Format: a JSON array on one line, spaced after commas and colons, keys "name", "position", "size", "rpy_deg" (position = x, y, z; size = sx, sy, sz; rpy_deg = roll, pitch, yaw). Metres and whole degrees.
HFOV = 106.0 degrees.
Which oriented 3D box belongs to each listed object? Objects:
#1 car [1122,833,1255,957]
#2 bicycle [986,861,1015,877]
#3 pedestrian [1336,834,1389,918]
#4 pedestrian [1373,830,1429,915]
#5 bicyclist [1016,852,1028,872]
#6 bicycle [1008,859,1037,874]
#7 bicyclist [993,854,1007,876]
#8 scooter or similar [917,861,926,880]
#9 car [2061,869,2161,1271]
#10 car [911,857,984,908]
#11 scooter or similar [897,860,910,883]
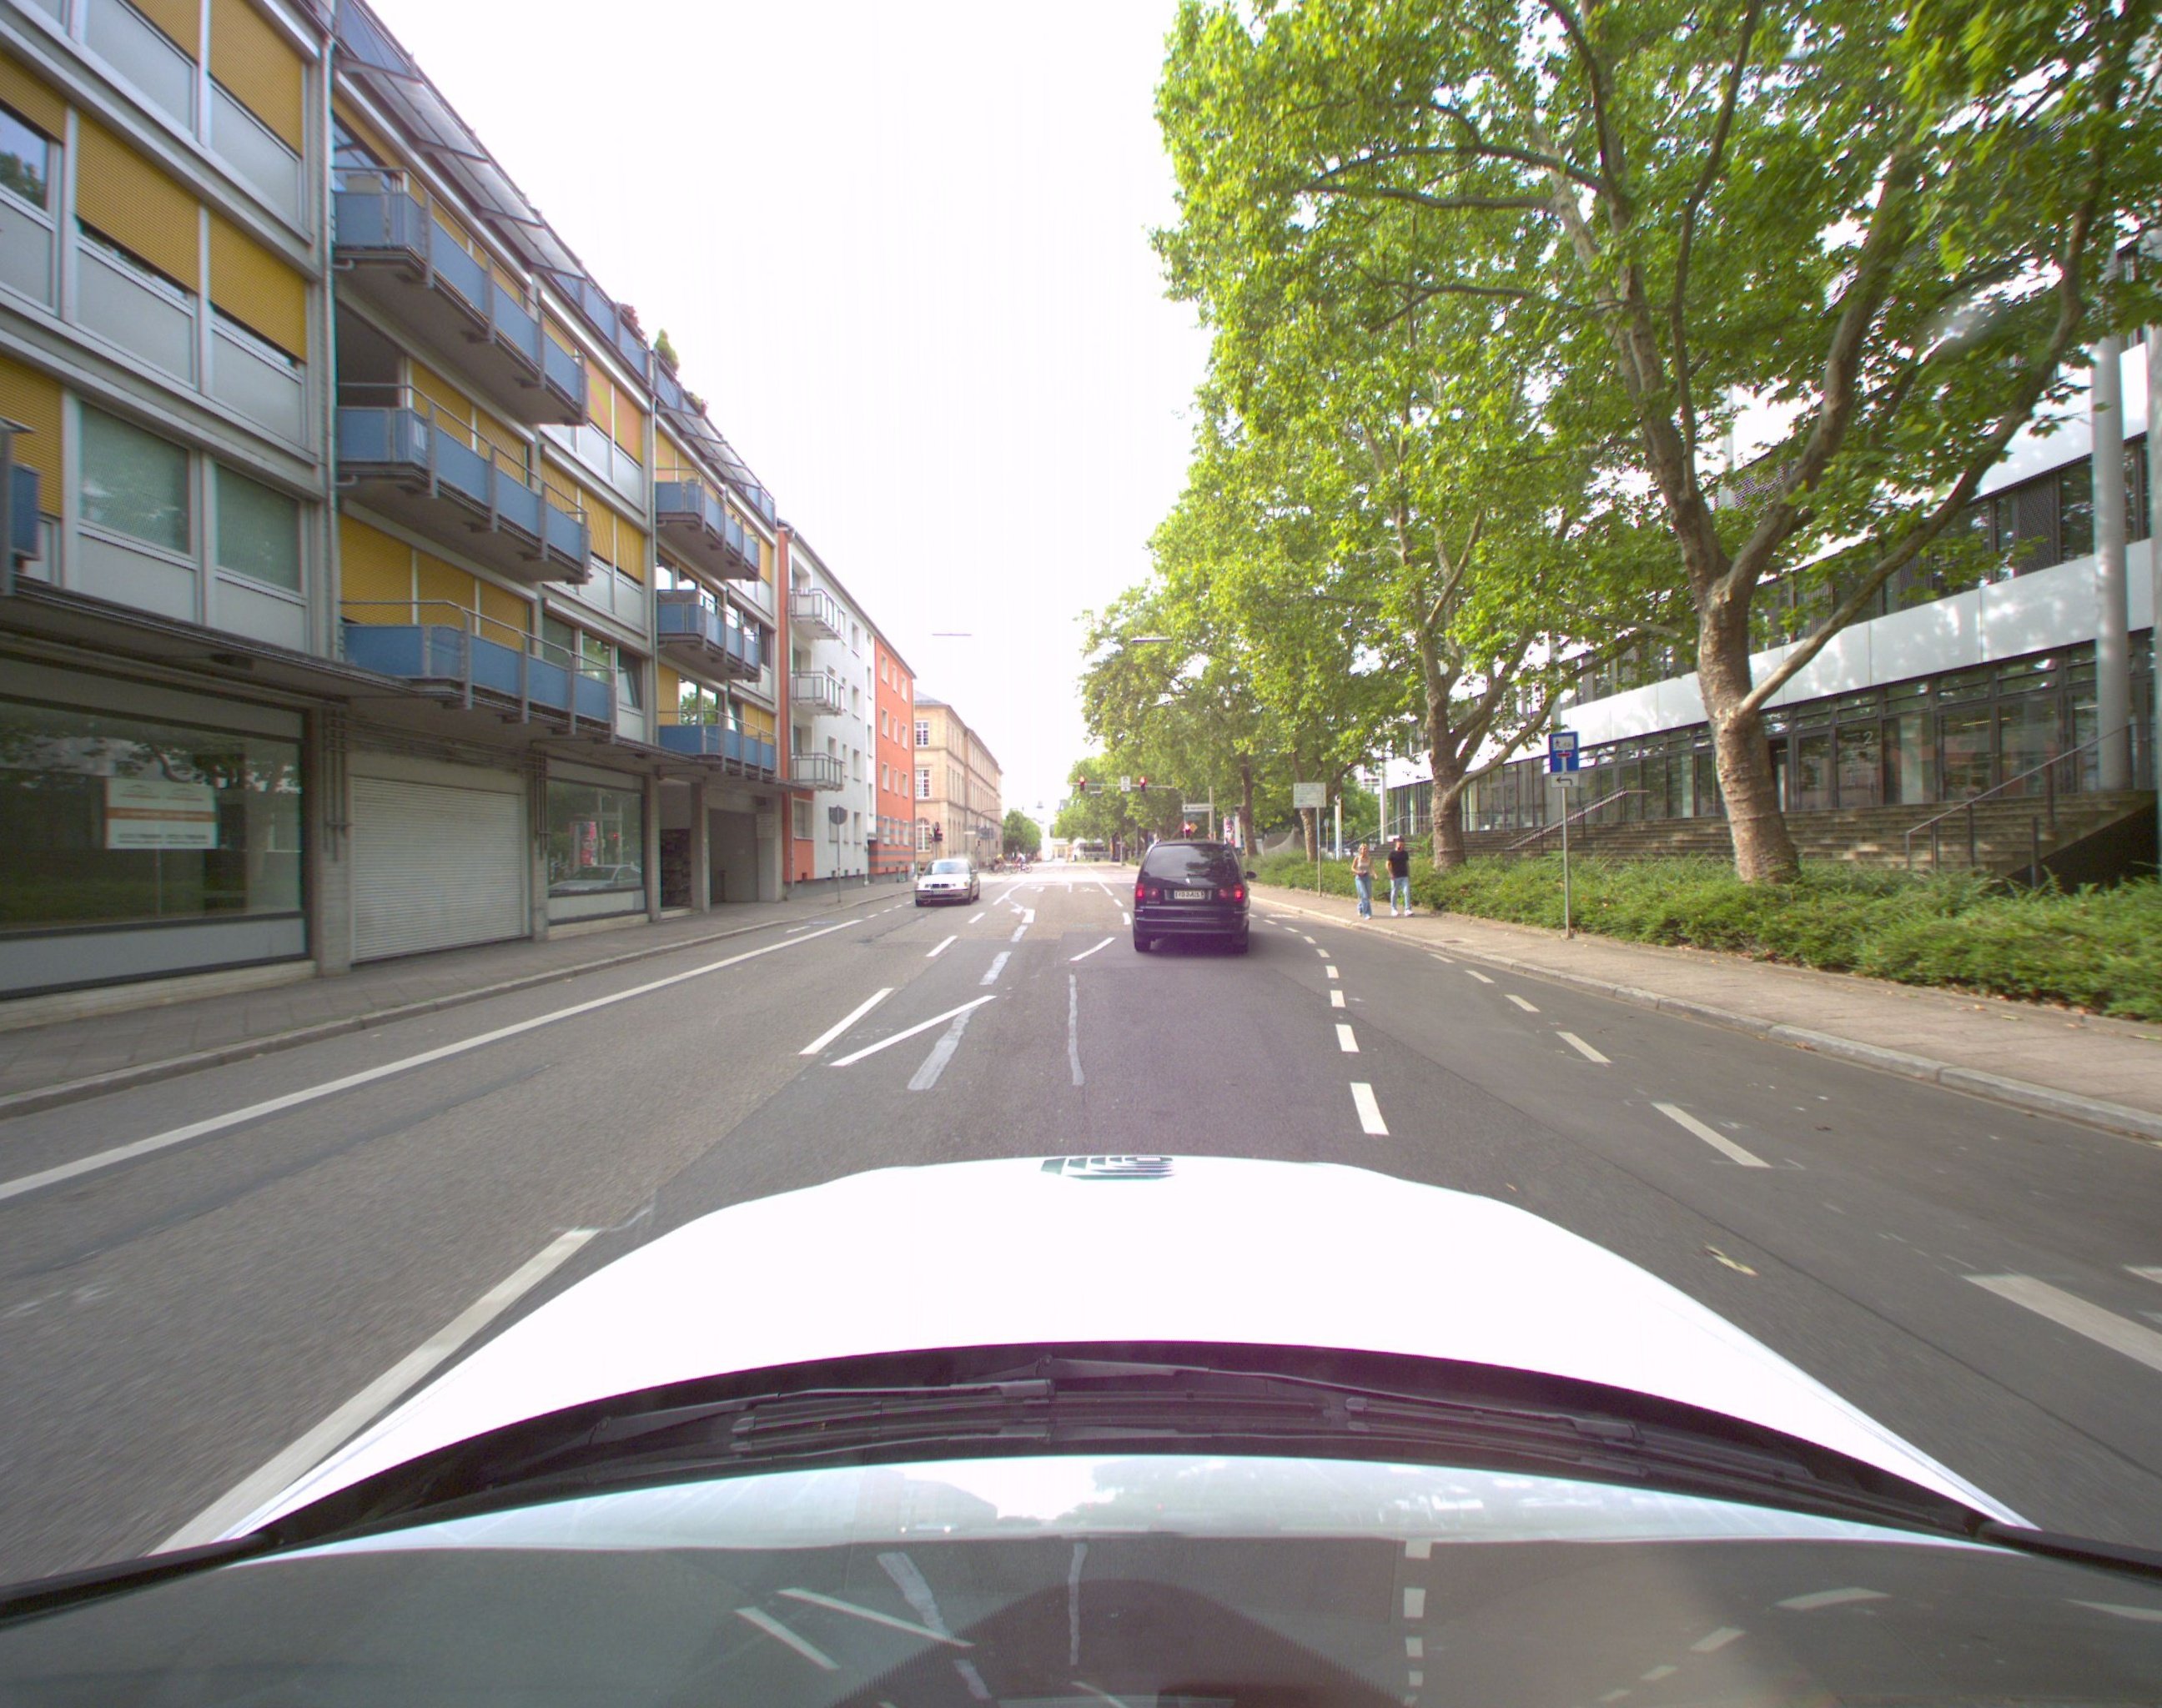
[{"name": "car", "position": [1.949, 0.571, 13.876], "size": [1.862, 1.745, 4.587], "rpy_deg": [-1, 0, 11]}, {"name": "bicycle", "position": [-5.613, 1.030, 56.794], "size": [2.014, 1.094, 0.627], "rpy_deg": [-1, 0, -4]}, {"name": "pedestrian", "position": [6.250, 0.476, 18.153], "size": [0.709, 1.783, 1.033], "rpy_deg": [-3, -1, -2]}, {"name": "pedestrian", "position": [7.090, 0.412, 18.095], "size": [0.713, 1.800, 1.033], "rpy_deg": [-3, -1, -2]}, {"name": "bicyclist", "position": [-4.600, 0.620, 63.614], "size": [0.913, 1.493, 0.625], "rpy_deg": [-1, 0, -5]}, {"name": "bicycle", "position": [-4.569, 0.971, 63.615], "size": [2.231, 1.094, 0.626], "rpy_deg": [-1, 0, -6]}, {"name": "bicyclist", "position": [-5.637, 0.734, 56.792], "size": [0.913, 1.514, 0.625], "rpy_deg": [-1, 0, -4]}, {"name": "scooter or similar", "position": [-9.767, 1.030, 49.906], "size": [0.377, 1.147, 1.140], "rpy_deg": [-1, -2, -4]}, {"name": "car", "position": [4.800, 0.777, 1.045], "size": [1.694, 1.425, 4.417], "rpy_deg": [0, 0, -3]}, {"name": "car", "position": [-4.256, 0.868, 26.545], "size": [1.752, 1.427, 4.096], "rpy_deg": [-2, 0, -2]}, {"name": "scooter or similar", "position": [-9.536, 0.950, 43.697], "size": [0.377, 1.184, 1.389], "rpy_deg": [-1, -2, -1]}]
